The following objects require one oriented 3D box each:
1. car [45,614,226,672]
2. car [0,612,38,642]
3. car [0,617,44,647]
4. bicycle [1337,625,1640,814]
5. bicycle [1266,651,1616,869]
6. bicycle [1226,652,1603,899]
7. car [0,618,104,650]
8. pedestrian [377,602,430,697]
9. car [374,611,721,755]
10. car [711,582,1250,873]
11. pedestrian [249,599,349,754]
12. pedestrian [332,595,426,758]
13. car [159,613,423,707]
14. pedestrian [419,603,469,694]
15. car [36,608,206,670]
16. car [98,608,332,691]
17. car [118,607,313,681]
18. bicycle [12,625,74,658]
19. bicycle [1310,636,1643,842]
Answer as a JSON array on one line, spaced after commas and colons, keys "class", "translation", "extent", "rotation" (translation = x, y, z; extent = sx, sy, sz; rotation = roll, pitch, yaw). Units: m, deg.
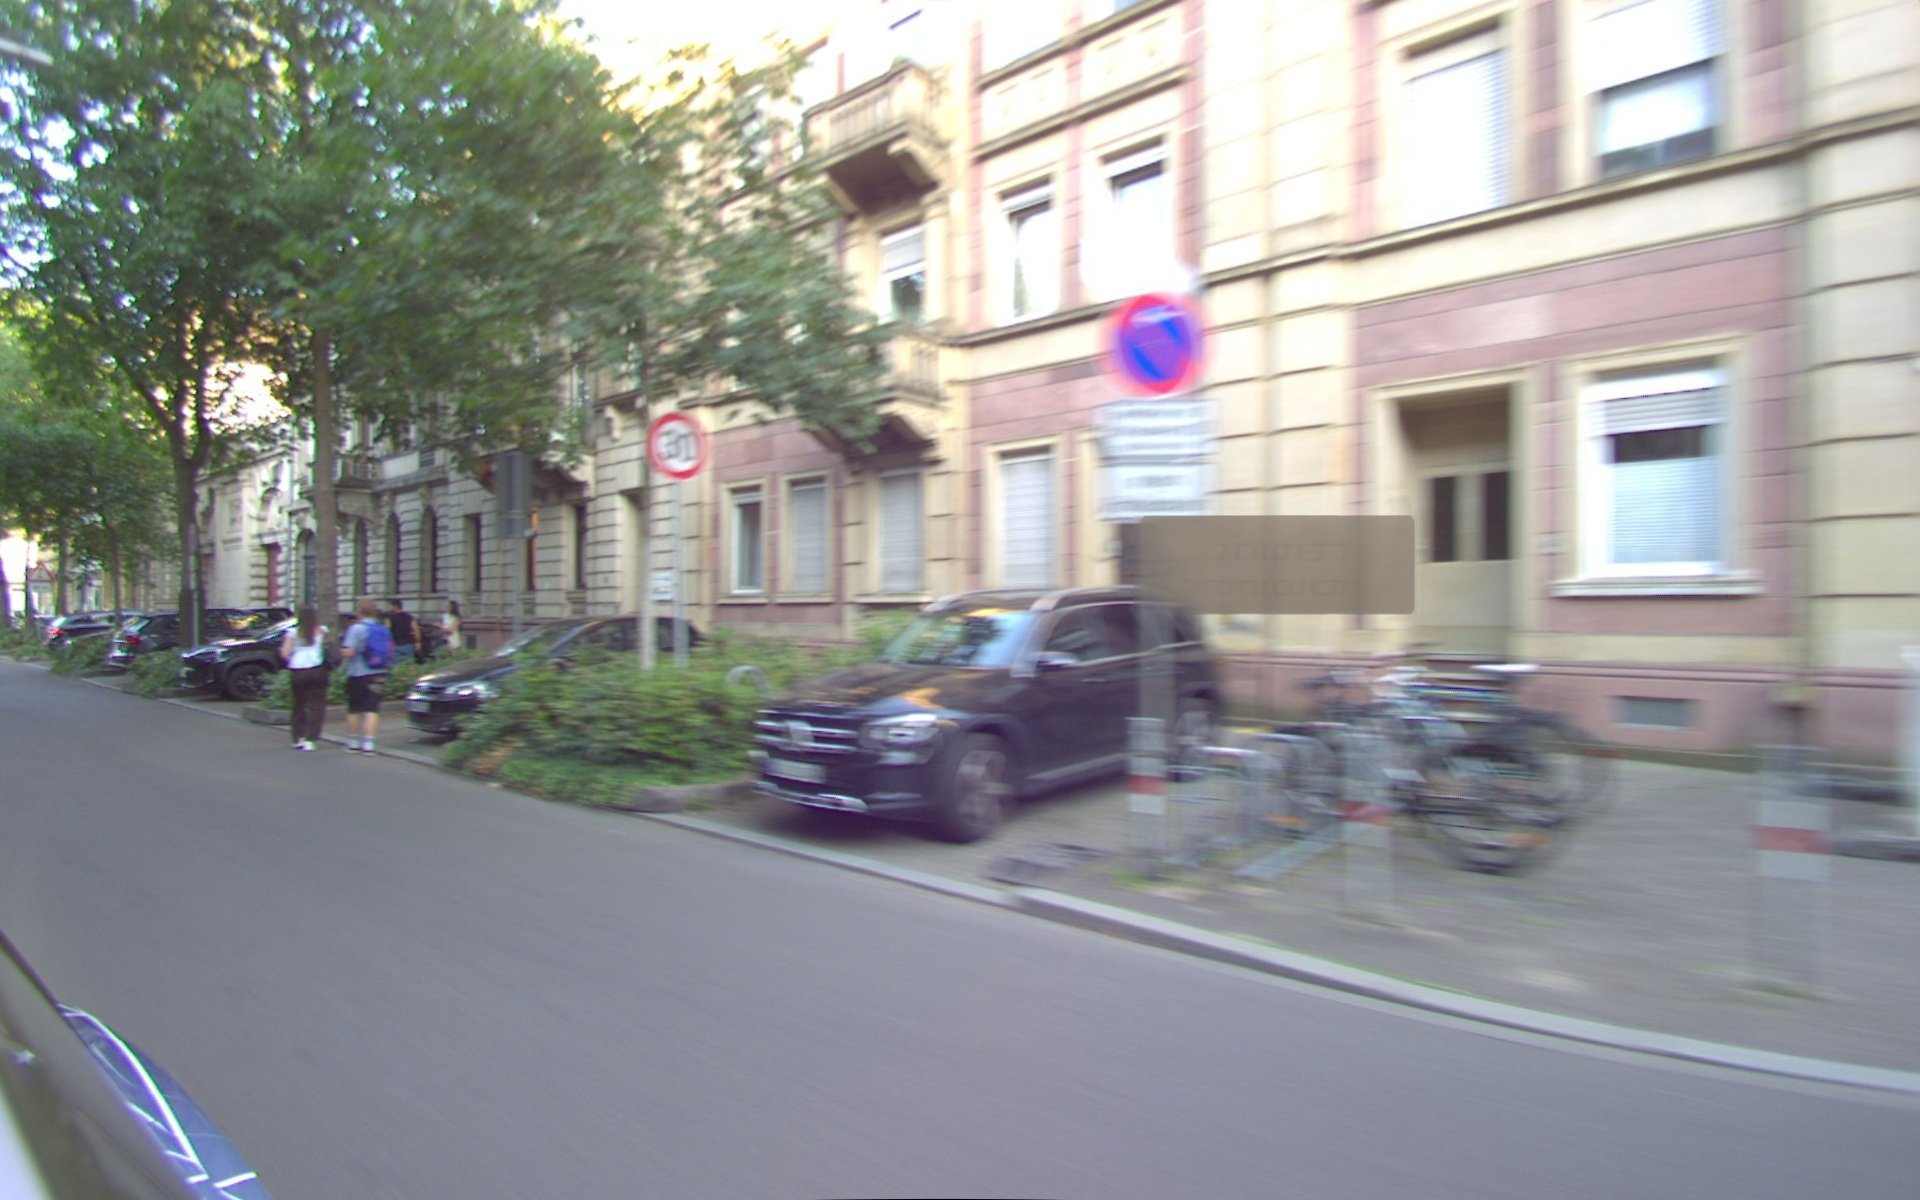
[{"class": "car", "translation": [-24.361, 1.232, 29.996], "extent": [1.764, 1.397, 3.923], "rotation": [-2, 1, 42]}, {"class": "car", "translation": [-57.053, 1.628, 59.205], "extent": [1.889, 1.735, 4.381], "rotation": [-1, 1, 39]}, {"class": "car", "translation": [-51.689, 1.718, 53.925], "extent": [1.827, 1.569, 4.124], "rotation": [-1, -1, 44]}, {"class": "bicycle", "translation": [3.728, 0.783, 7.270], "extent": [1.861, 1.116, 0.511], "rotation": [1, 3, 42]}, {"class": "bicycle", "translation": [2.856, 0.891, 6.167], "extent": [1.861, 1.026, 0.517], "rotation": [1, 3, 42]}, {"class": "bicycle", "translation": [2.481, 0.893, 5.688], "extent": [1.860, 1.067, 0.517], "rotation": [1, 3, 39]}, {"class": "car", "translation": [-43.431, 1.568, 47.706], "extent": [1.916, 1.401, 4.465], "rotation": [-1, -1, 42]}, {"class": "pedestrian", "translation": [-10.551, 0.922, 19.180], "extent": [0.725, 1.752, 0.672], "rotation": [0, -1, -42]}, {"class": "car", "translation": [-5.144, 0.936, 12.950], "extent": [1.871, 1.469, 3.654], "rotation": [-2, 0, 41]}, {"class": "car", "translation": [0.425, 0.724, 8.078], "extent": [1.872, 1.663, 4.379], "rotation": [-2, 0, 42]}, {"class": "pedestrian", "translation": [-7.536, 0.849, 11.582], "extent": [0.783, 1.683, 0.834], "rotation": [1, -2, -23]}, {"class": "pedestrian", "translation": [-6.549, 0.843, 11.459], "extent": [0.783, 1.750, 0.834], "rotation": [1, -2, -23]}, {"class": "car", "translation": [-12.689, 1.052, 19.345], "extent": [1.908, 1.544, 3.902], "rotation": [-1, 0, 43]}, {"class": "pedestrian", "translation": [-10.195, 0.936, 20.001], "extent": [0.725, 1.752, 0.672], "rotation": [0, -1, -42]}, {"class": "car", "translation": [-26.851, 1.190, 32.485], "extent": [1.780, 1.608, 3.924], "rotation": [-1, 3, 41]}, {"class": "car", "translation": [-17.538, 1.101, 23.981], "extent": [1.907, 1.684, 4.157], "rotation": [-2, 0, 41]}, {"class": "car", "translation": [-19.112, 1.085, 26.096], "extent": [1.713, 1.684, 3.762], "rotation": [-2, 0, 40]}, {"class": "bicycle", "translation": [-35.676, 1.596, 39.386], "extent": [1.750, 1.241, 0.500], "rotation": [0, 0, -44]}, {"class": "bicycle", "translation": [3.359, 0.836, 6.706], "extent": [1.861, 1.070, 0.661], "rotation": [1, 3, 42]}]
